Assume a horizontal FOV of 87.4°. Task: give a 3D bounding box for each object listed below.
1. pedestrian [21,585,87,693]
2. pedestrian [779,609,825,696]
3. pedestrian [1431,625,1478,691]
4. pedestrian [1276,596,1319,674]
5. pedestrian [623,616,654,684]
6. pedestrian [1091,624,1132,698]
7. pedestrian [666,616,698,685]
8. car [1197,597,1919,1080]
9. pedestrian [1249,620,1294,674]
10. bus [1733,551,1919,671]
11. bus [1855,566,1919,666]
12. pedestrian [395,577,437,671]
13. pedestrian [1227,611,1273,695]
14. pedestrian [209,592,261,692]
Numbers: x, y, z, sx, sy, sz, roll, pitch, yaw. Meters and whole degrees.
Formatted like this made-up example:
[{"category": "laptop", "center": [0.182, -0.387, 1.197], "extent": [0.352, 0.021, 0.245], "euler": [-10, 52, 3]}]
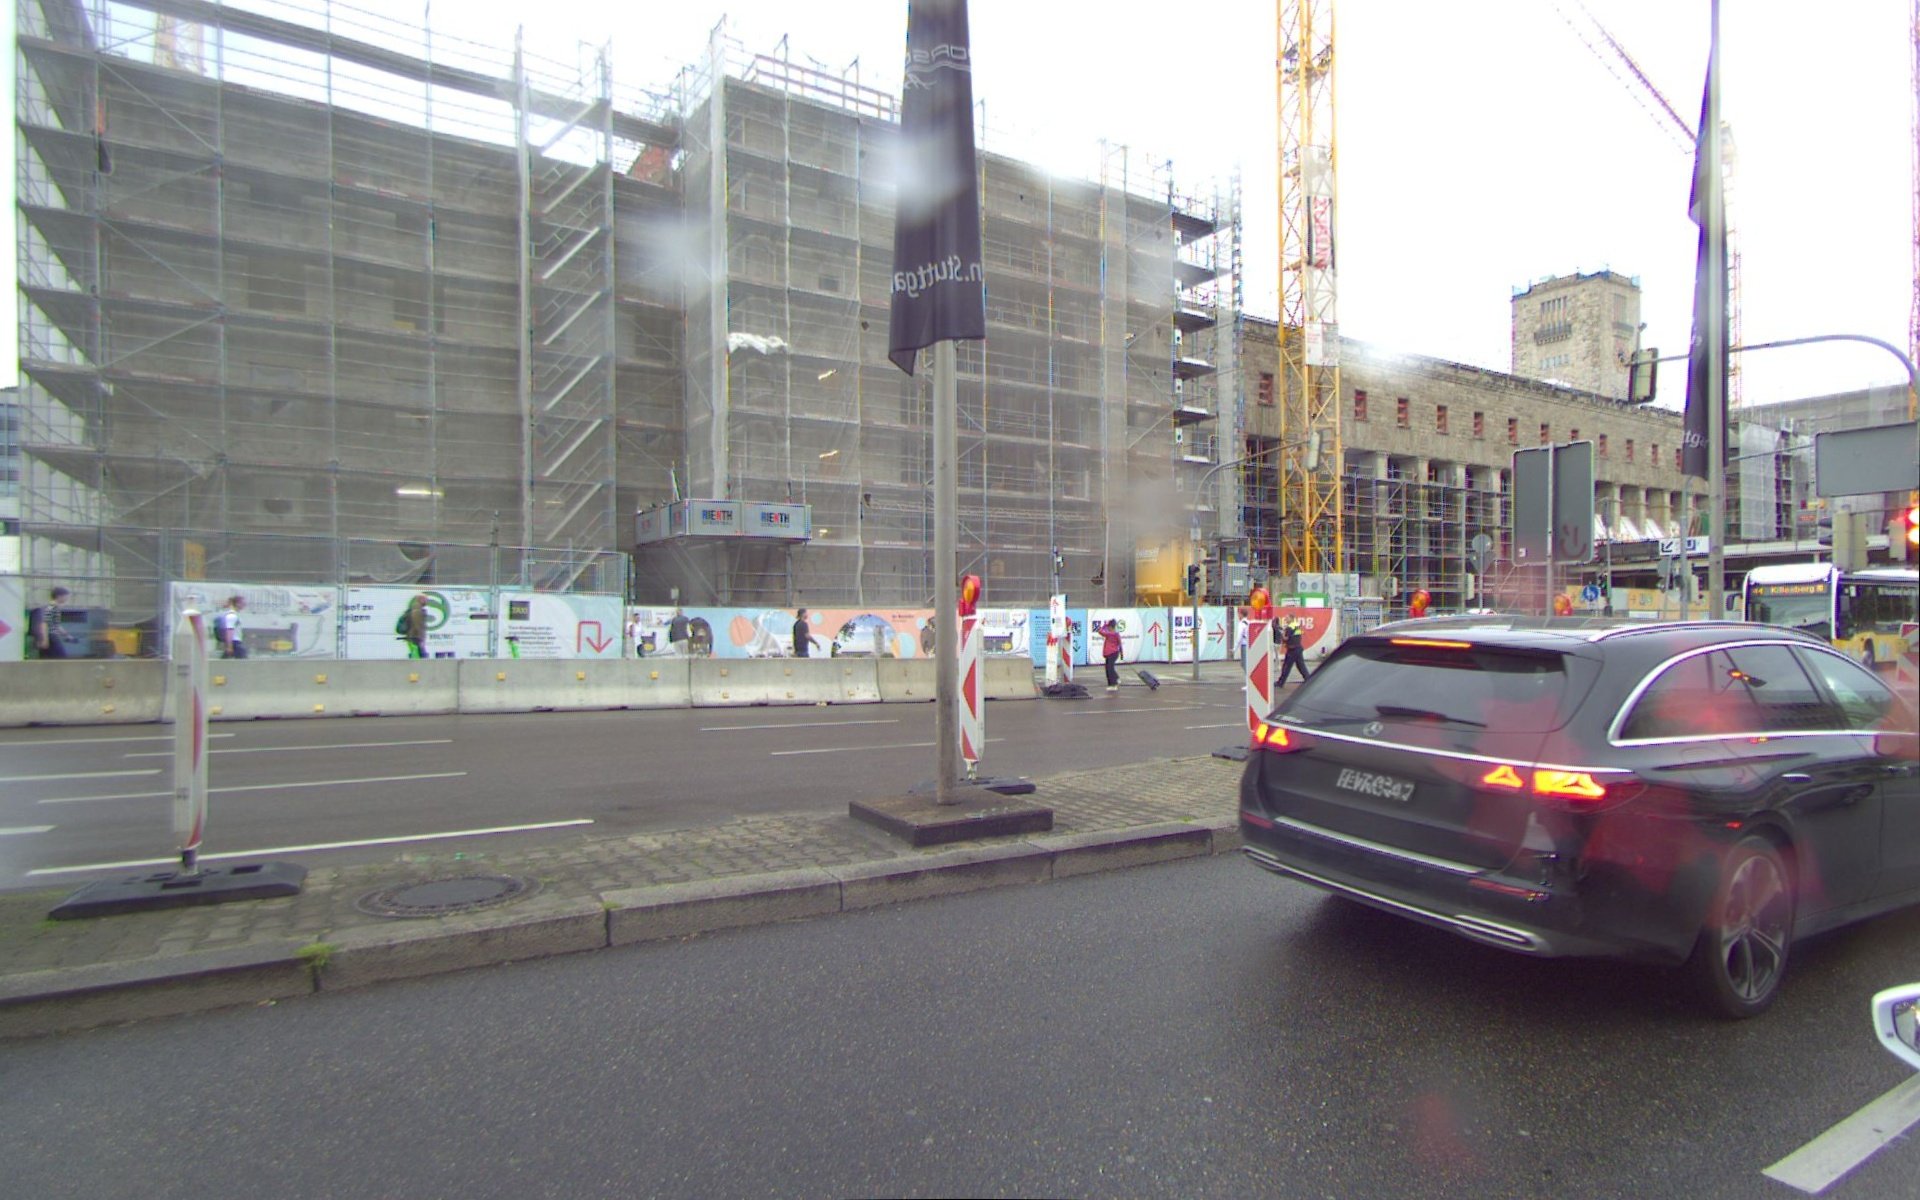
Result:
[{"category": "pedestrian", "center": [-15.973, 0.679, 17.723], "extent": [0.709, 1.860, 0.583], "euler": [1, 0, -30]}, {"category": "pedestrian", "center": [-3.486, 1.151, 22.185], "extent": [0.810, 1.860, 0.575], "euler": [1, 0, -30]}, {"category": "pedestrian", "center": [12.327, 1.436, 25.062], "extent": [0.771, 1.581, 0.876], "euler": [2, 0, 7]}, {"category": "pedestrian", "center": [8.217, 0.847, 24.456], "extent": [0.810, 1.860, 0.575], "euler": [1, 0, -30]}, {"category": "pedestrian", "center": [-9.056, 1.404, 28.284], "extent": [0.709, 1.860, 0.478], "euler": [1, 0, -30]}, {"category": "pedestrian", "center": [3.646, 1.465, 24.197], "extent": [0.613, 1.740, 0.794], "euler": [1, -2, -33]}, {"category": "pedestrian", "center": [-7.623, 1.378, 27.559], "extent": [0.709, 1.860, 0.478], "euler": [1, 0, -30]}, {"category": "car", "center": [3.540, 0.799, 5.087], "extent": [4.533, 1.489, 1.846], "euler": [2, 0, -30]}, {"category": "pedestrian", "center": [9.473, 1.407, 30.570], "extent": [0.890, 1.584, 0.909], "euler": [1, 0, -33]}, {"category": "bus", "center": [30.249, 0.444, 34.126], "extent": [10.119, 3.650, 2.655], "euler": [2, 0, -30]}, {"category": "bus", "center": [38.904, 0.699, 39.410], "extent": [10.092, 3.650, 2.655], "euler": [2, 0, -30]}, {"category": "pedestrian", "center": [-11.060, 0.486, 20.414], "extent": [0.709, 1.860, 0.478], "euler": [1, 0, -30]}, {"category": "pedestrian", "center": [6.858, 1.232, 23.765], "extent": [0.614, 1.915, 0.793], "euler": [1, 0, -38]}, {"category": "pedestrian", "center": [-13.698, 0.790, 18.997], "extent": [0.709, 1.860, 0.478], "euler": [1, 0, -30]}]
